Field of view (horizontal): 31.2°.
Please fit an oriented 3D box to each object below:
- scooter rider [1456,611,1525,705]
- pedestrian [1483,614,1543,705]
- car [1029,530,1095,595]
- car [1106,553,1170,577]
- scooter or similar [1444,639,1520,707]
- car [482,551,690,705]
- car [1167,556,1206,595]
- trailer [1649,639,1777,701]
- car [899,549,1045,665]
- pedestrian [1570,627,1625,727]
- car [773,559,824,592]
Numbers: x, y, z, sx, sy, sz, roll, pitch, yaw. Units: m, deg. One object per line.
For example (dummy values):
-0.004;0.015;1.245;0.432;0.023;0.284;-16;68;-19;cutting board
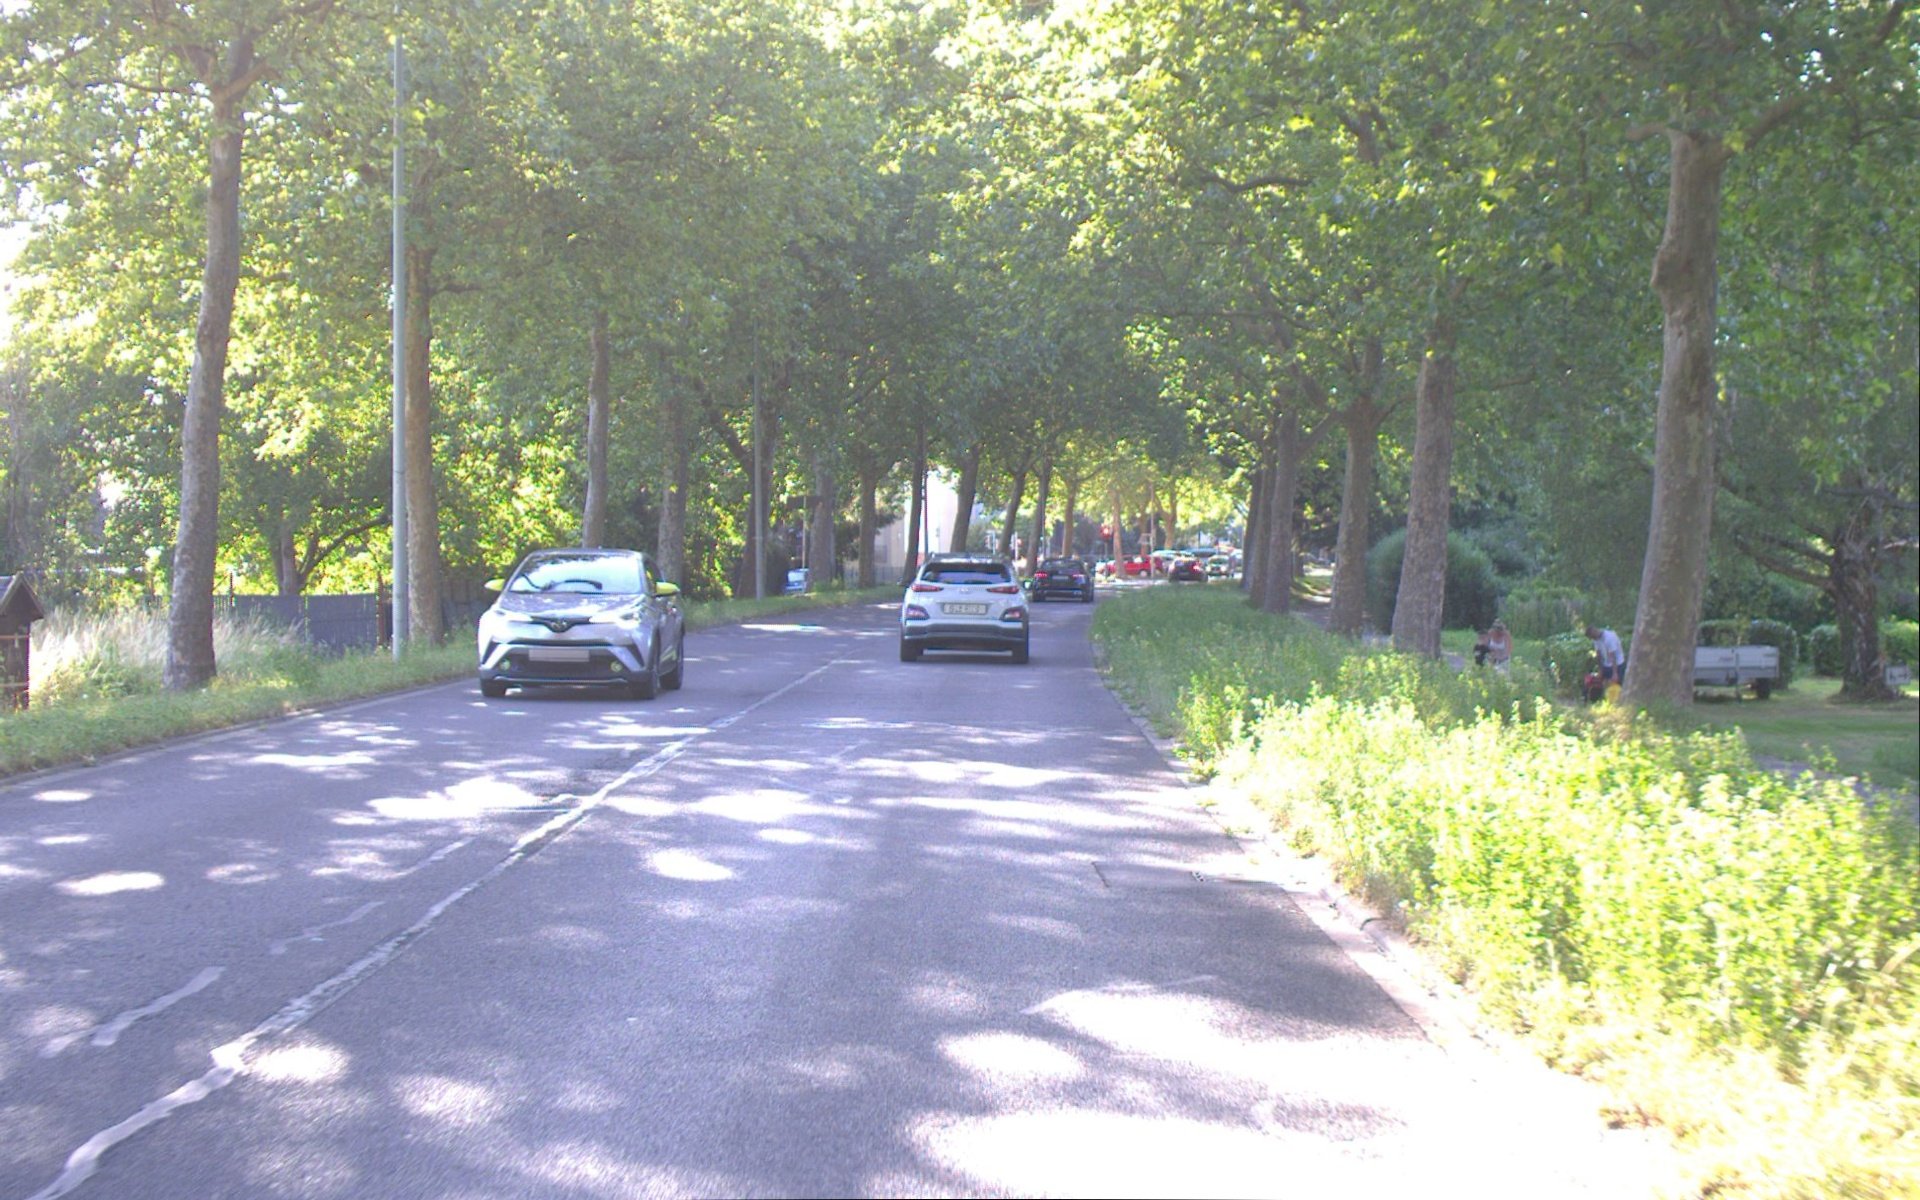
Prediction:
9.061;0.985;58.742;0.842;1.571;0.784;1;0;-41;scooter rider
9.667;1.032;60.077;0.783;1.571;0.843;1;0;28;pedestrian
3.291;-1.175;110.425;1.994;2.007;4.000;1;0;3;car
11.855;-2.306;228.538;3.988;1.473;1.999;1;0;10;car
8.900;1.247;58.594;1.595;1.131;0.341;1;0;-42;scooter or similar
-3.890;0.274;36.282;1.715;1.500;4.000;1;0;0;car
12.183;-1.301;184.604;1.994;2.007;3.999;1;0;4;car
13.537;1.254;61.871;2.118;1.049;1.200;1;0;6;trailer
0.206;0.082;49.792;1.993;1.569;4.000;1;0;1;car
10.310;1.233;55.631;0.842;1.571;1.206;1;0;10;pedestrian
-6.748;-1.034;144.040;1.752;1.300;4.000;-1;2;3;car
